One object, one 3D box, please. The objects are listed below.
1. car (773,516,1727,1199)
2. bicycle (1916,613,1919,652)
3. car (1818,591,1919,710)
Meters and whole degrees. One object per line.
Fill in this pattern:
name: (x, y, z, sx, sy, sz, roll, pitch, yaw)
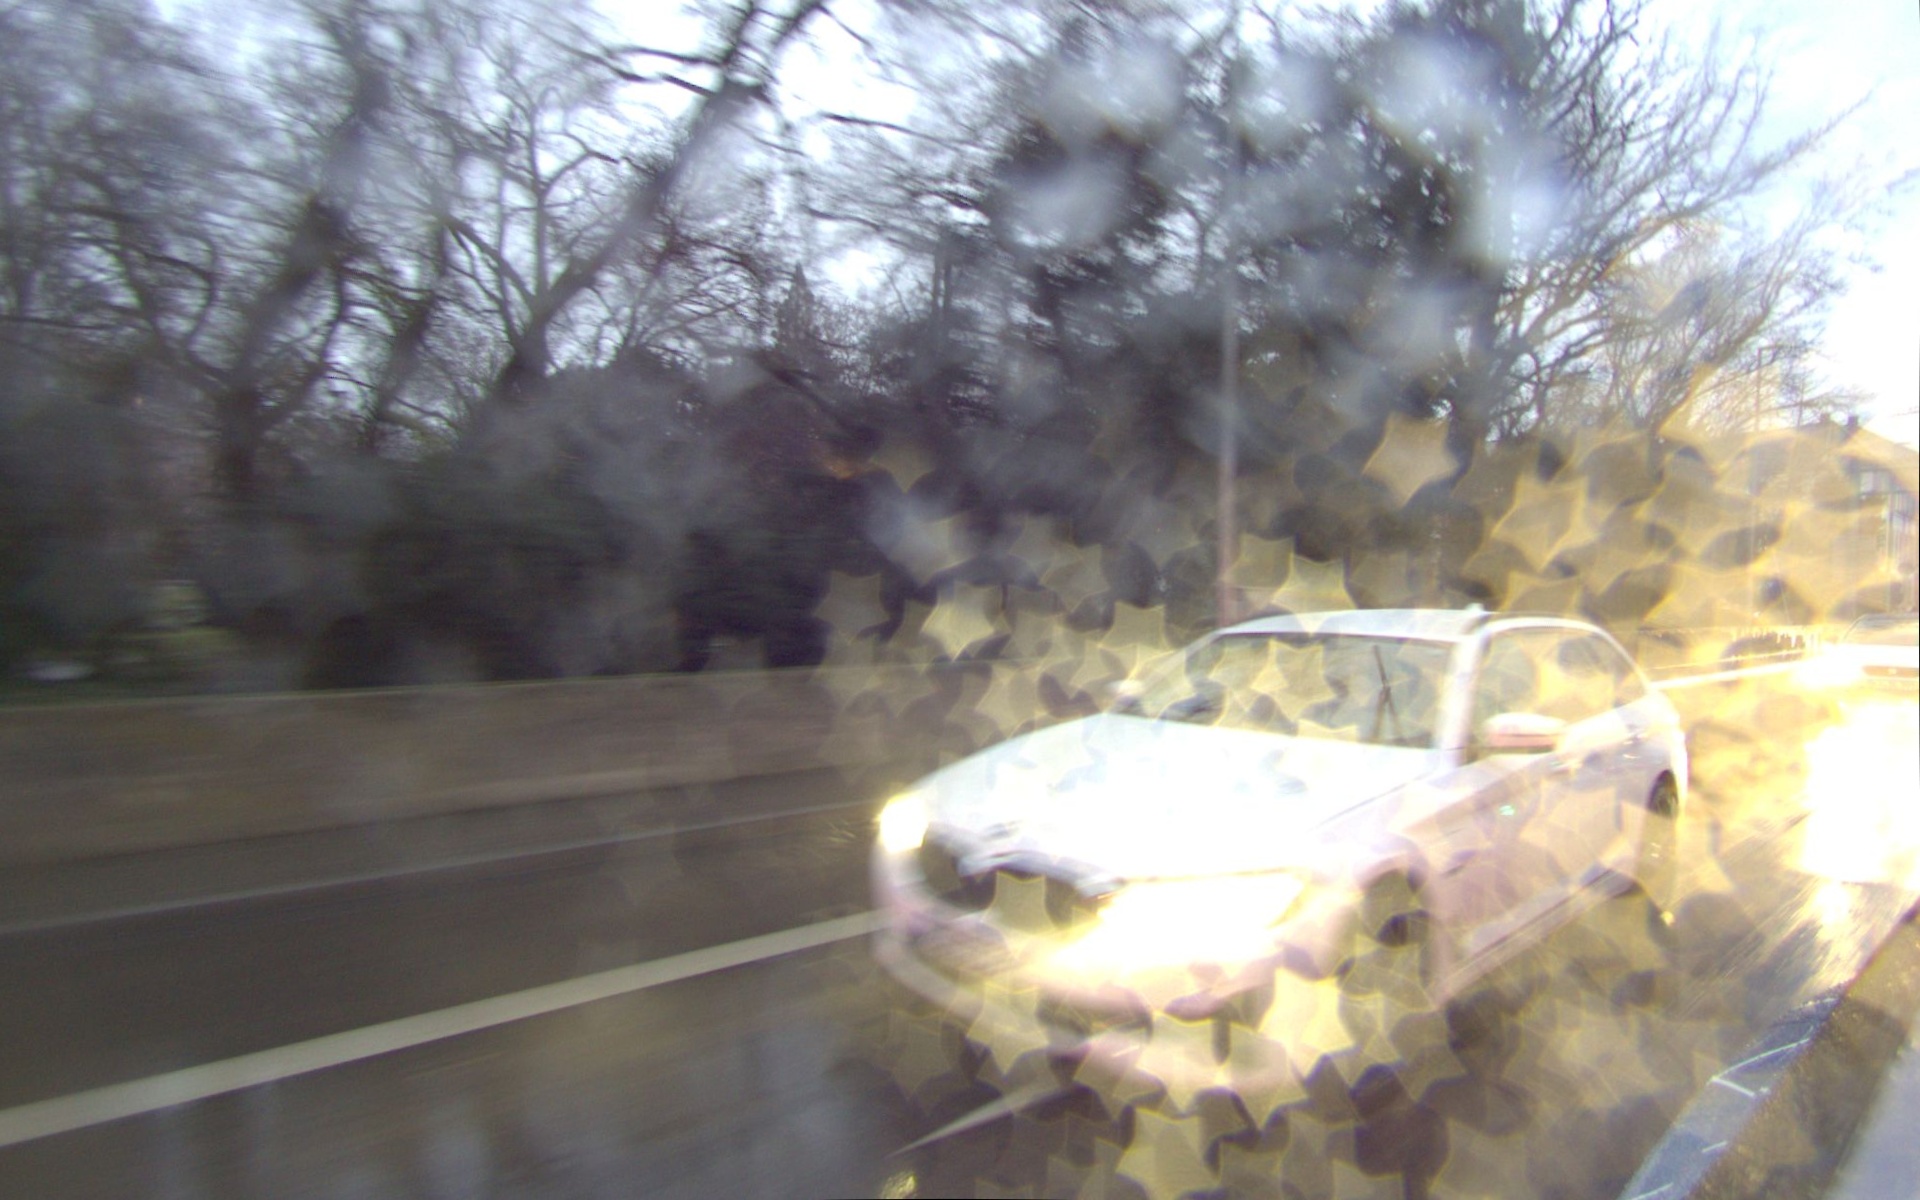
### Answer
car: (1.749, 0.574, 4.615, 4.853, 1.575, 1.866, 0, 2, -42)
bicycle: (37.939, 1.227, 39.294, 3.332, 1.469, 0.966, 0, 0, -42)
car: (14.454, 0.704, 15.068, 4.096, 1.580, 1.885, 0, 2, -40)
